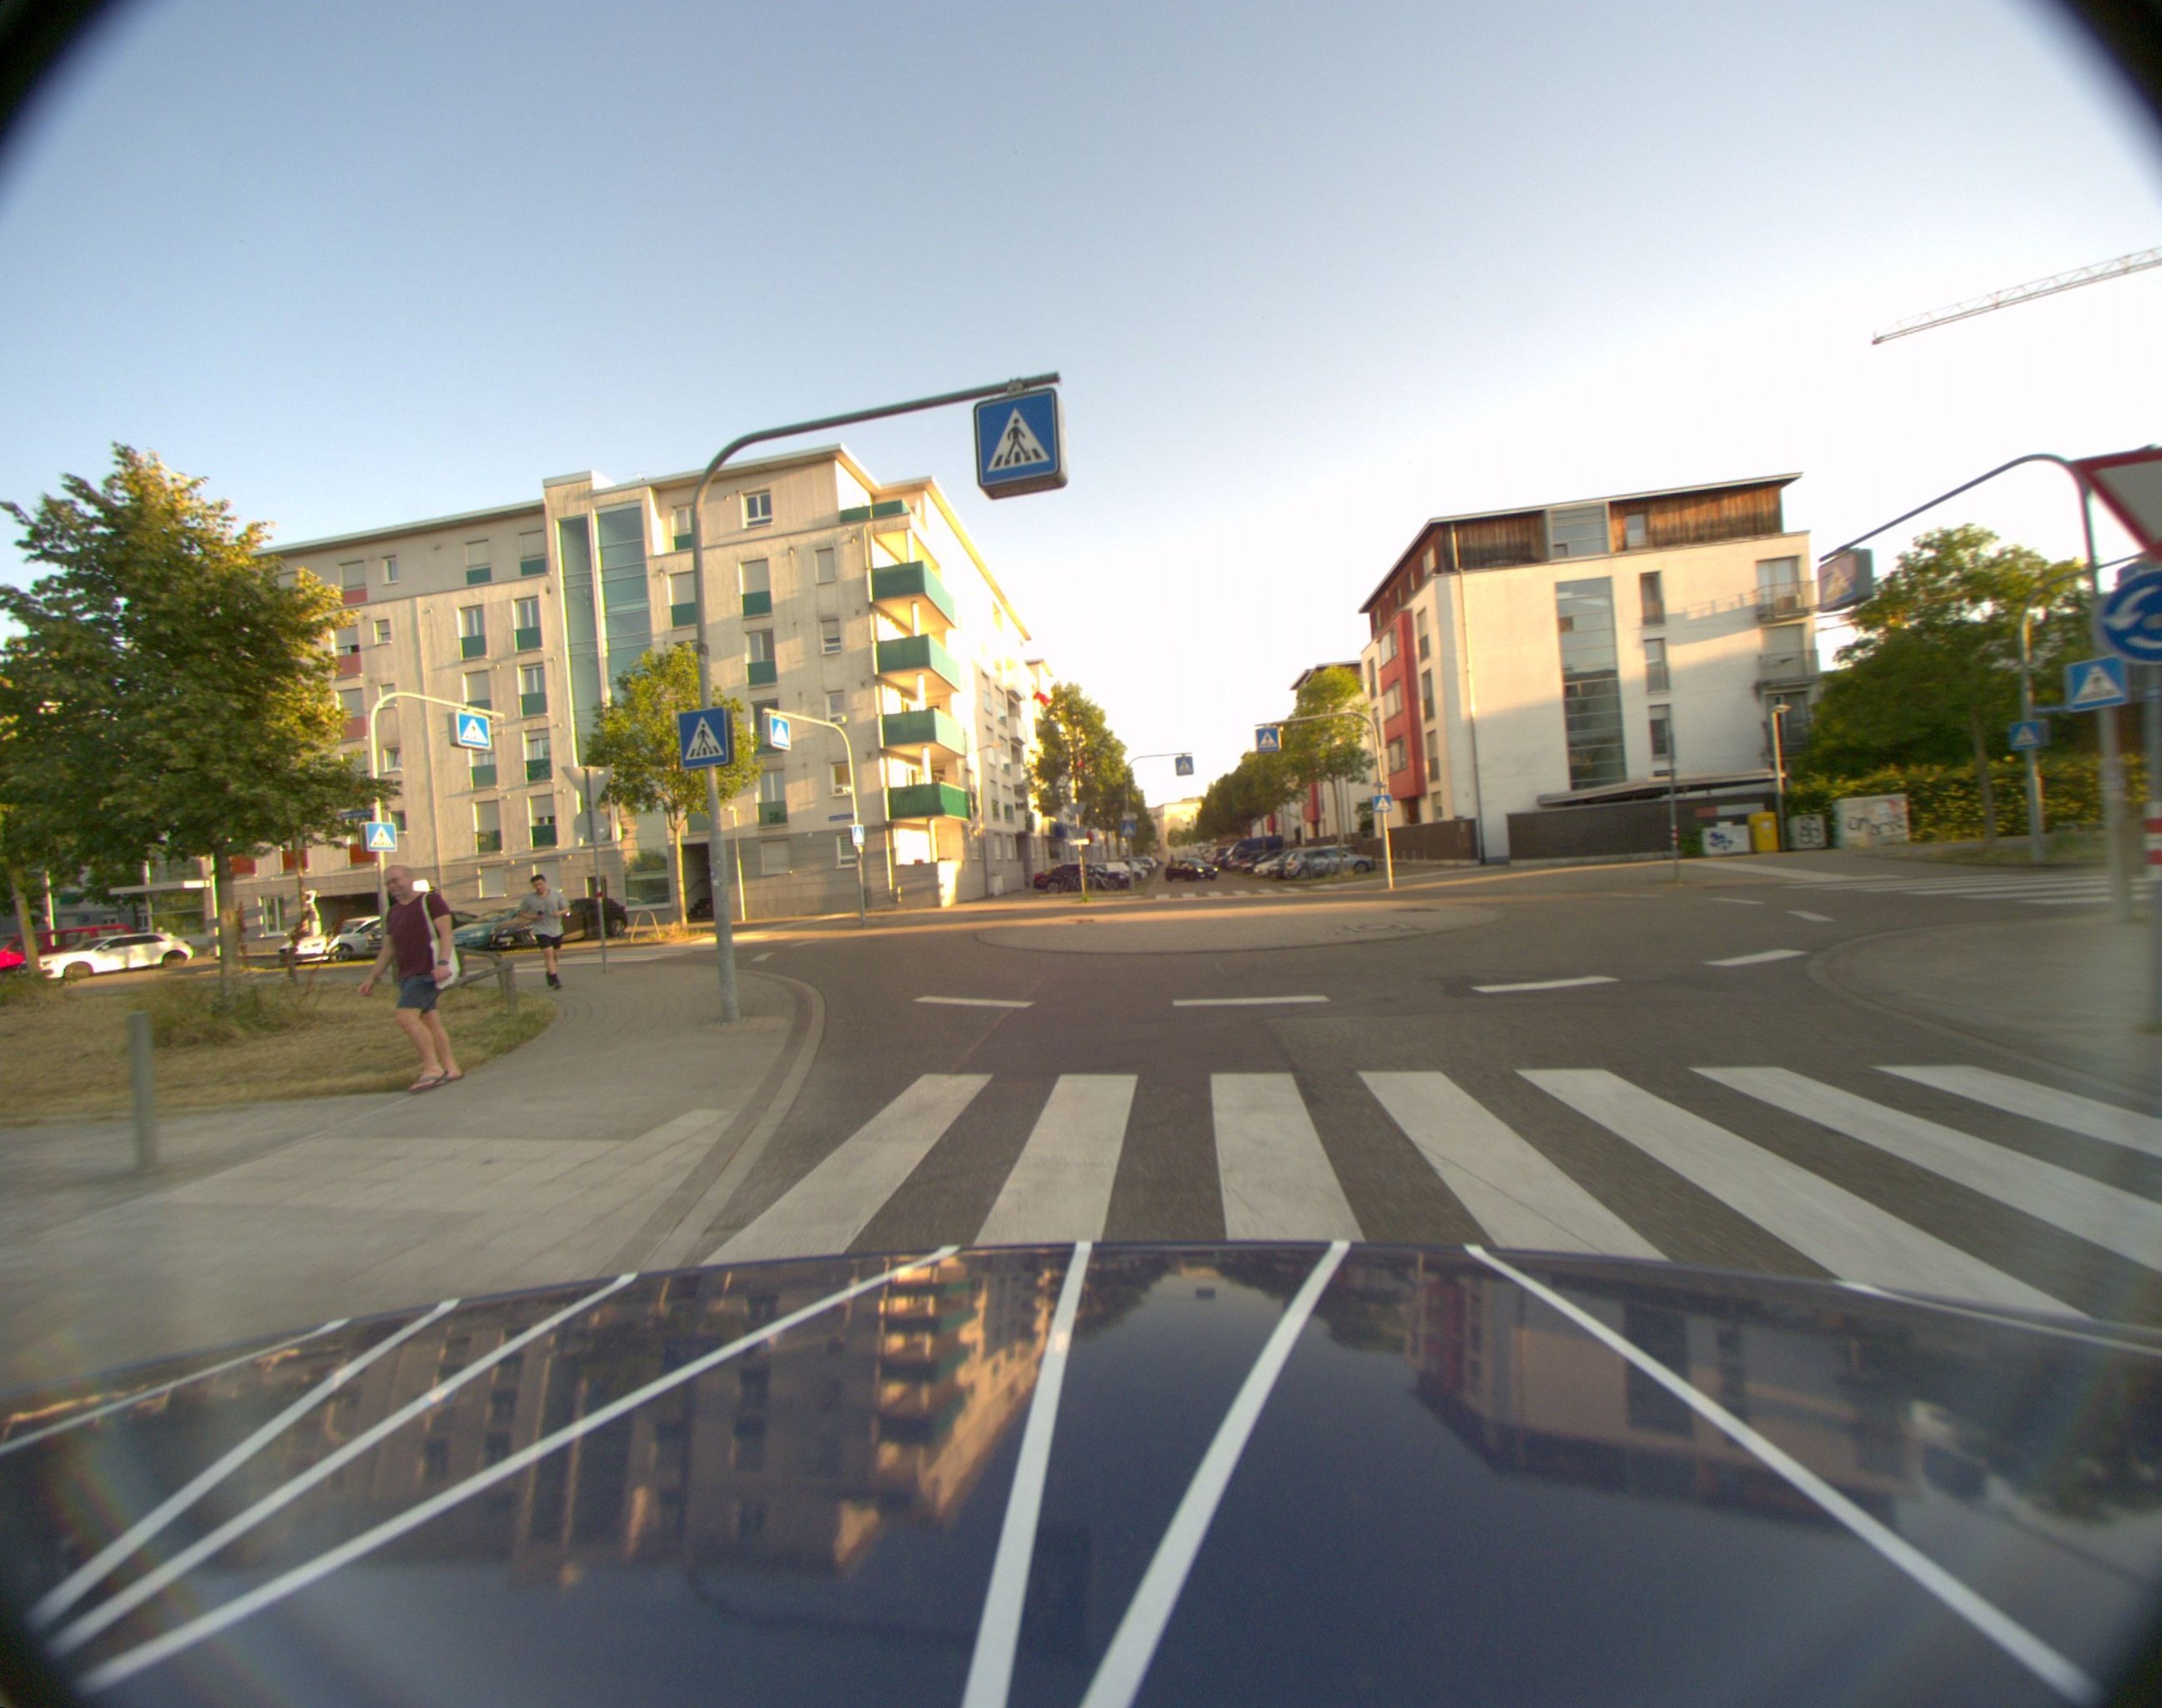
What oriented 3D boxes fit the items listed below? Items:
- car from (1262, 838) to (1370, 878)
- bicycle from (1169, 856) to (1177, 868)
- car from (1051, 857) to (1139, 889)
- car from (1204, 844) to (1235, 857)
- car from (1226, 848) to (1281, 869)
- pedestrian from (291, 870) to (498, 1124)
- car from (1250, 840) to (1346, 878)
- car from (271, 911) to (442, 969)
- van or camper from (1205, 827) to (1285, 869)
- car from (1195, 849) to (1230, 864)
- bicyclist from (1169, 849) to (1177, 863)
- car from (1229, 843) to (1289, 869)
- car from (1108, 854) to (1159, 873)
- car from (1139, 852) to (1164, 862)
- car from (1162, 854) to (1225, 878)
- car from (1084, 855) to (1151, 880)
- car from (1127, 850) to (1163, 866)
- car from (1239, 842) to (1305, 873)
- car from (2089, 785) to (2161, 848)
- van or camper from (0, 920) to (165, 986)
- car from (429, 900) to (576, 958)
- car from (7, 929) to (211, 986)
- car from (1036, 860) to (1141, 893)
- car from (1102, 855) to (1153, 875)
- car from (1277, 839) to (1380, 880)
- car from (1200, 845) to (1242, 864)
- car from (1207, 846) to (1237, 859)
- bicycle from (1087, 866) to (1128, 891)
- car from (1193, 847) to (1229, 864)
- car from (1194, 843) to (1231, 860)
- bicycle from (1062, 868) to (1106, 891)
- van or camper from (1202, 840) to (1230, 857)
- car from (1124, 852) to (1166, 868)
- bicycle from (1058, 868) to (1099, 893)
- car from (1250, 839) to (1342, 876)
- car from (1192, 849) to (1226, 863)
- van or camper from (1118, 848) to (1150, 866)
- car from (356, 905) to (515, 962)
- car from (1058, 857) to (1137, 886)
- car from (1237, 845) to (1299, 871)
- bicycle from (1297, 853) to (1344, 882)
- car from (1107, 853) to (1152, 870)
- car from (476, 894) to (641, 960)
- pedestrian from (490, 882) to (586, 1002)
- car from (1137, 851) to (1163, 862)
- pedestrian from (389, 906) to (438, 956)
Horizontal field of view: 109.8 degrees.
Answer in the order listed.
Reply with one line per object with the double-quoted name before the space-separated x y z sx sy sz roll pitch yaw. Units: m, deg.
"car" 11.935 0.223 38.906 4.913 1.469 1.711 -6 -1 5
"bicycle" 10.548 0.900 87.167 0.771 1.259 1.782 -5 -1 6
"car" 0.792 1.000 40.322 4.409 1.499 1.744 -2 0 10
"car" 19.717 -0.493 108.602 4.248 1.776 1.694 -2 0 8
"car" 14.002 0.373 61.834 4.100 1.616 1.724 -2 0 3
"pedestrian" -5.225 1.038 5.834 0.733 1.773 0.802 -5 -1 8
"car" 11.874 0.303 41.856 4.782 1.545 1.712 -6 -1 11
"car" -25.128 2.931 26.568 1.699 1.471 4.059 -5 -1 8
"van or camper" 14.357 -0.497 66.914 6.312 3.068 2.443 -5 0 3
"car" 16.717 0.275 96.800 4.249 1.776 1.693 -2 0 6
"bicyclist" 10.504 0.232 87.192 0.767 1.617 0.663 -5 0 6
"car" 13.659 0.188 58.383 4.100 1.616 1.724 -5 0 3
"car" 4.504 0.783 64.997 4.250 1.500 1.752 -2 0 3
"car" 12.221 0.521 131.169 4.248 1.606 1.694 -2 0 8
"car" 7.125 0.775 48.507 1.781 1.454 4.169 -2 0 -30
"car" 2.422 0.911 50.205 4.292 1.499 1.686 -2 0 4
"car" 7.863 0.495 93.721 4.248 1.768 1.694 -2 0 8
"car" 12.832 0.229 51.269 3.917 1.700 1.724 -5 0 3
"car" 27.327 -0.968 18.318 1.688 1.513 3.412 -5 0 9
"van or camper" -39.817 3.835 29.502 1.875 2.047 5.135 -5 -1 8
"car" -19.911 2.538 26.391 1.557 1.366 4.007 -5 2 8
"car" -36.830 3.865 29.002 1.699 1.512 4.470 -5 -1 8
"car" 0.399 1.096 37.528 4.883 1.449 1.939 -2 0 9
"car" 3.772 0.912 62.028 4.100 1.500 1.666 -2 0 3
"car" 11.753 0.264 36.347 4.290 1.449 1.681 -7 -1 5
"car" 15.084 0.027 82.102 4.249 1.919 1.693 -2 0 6
"car" 21.119 -0.221 113.698 4.248 1.776 1.694 -2 0 8
"bicycle" 1.232 1.121 35.043 1.838 1.065 0.473 -2 0 3
"car" 16.153 0.191 94.301 4.249 1.991 1.693 -2 0 6
"car" 15.838 -0.324 91.943 4.249 1.919 1.693 -2 0 6
"bicycle" 0.139 1.194 35.679 2.033 1.040 0.473 -2 0 3
"van or camper" 21.069 -0.885 118.638 4.248 2.520 1.762 -2 0 8
"car" 6.759 0.587 79.767 4.248 1.527 1.694 -2 0 8
"bicycle" -0.116 1.199 34.530 1.792 1.035 0.567 -2 -1 3
"car" 12.457 0.209 44.212 4.758 1.575 1.759 -6 -1 3
"car" 16.978 0.286 100.916 4.249 1.776 1.693 -2 0 6
"van or camper" 7.159 0.427 102.773 4.249 2.198 1.693 -2 0 6
"car" -22.398 2.718 26.601 1.699 1.471 4.059 -5 -1 8
"car" 0.971 0.967 42.816 4.291 1.485 1.743 -2 0 6
"car" 13.218 0.297 53.796 3.917 1.506 1.724 -5 0 3
"bicycle" 10.617 0.605 33.719 1.820 1.060 0.567 -8 -1 4
"car" 4.775 0.758 74.800 4.248 1.527 1.694 -2 0 8
"car" -17.219 2.345 25.369 1.831 1.479 4.482 -5 2 8
"pedestrian" -8.367 1.339 11.739 0.800 1.719 0.768 -5 -1 14
"car" 11.597 0.394 127.522 4.248 1.629 1.694 -2 0 8
"pedestrian" -27.307 3.148 31.087 1.048 1.883 0.980 -5 -1 10
